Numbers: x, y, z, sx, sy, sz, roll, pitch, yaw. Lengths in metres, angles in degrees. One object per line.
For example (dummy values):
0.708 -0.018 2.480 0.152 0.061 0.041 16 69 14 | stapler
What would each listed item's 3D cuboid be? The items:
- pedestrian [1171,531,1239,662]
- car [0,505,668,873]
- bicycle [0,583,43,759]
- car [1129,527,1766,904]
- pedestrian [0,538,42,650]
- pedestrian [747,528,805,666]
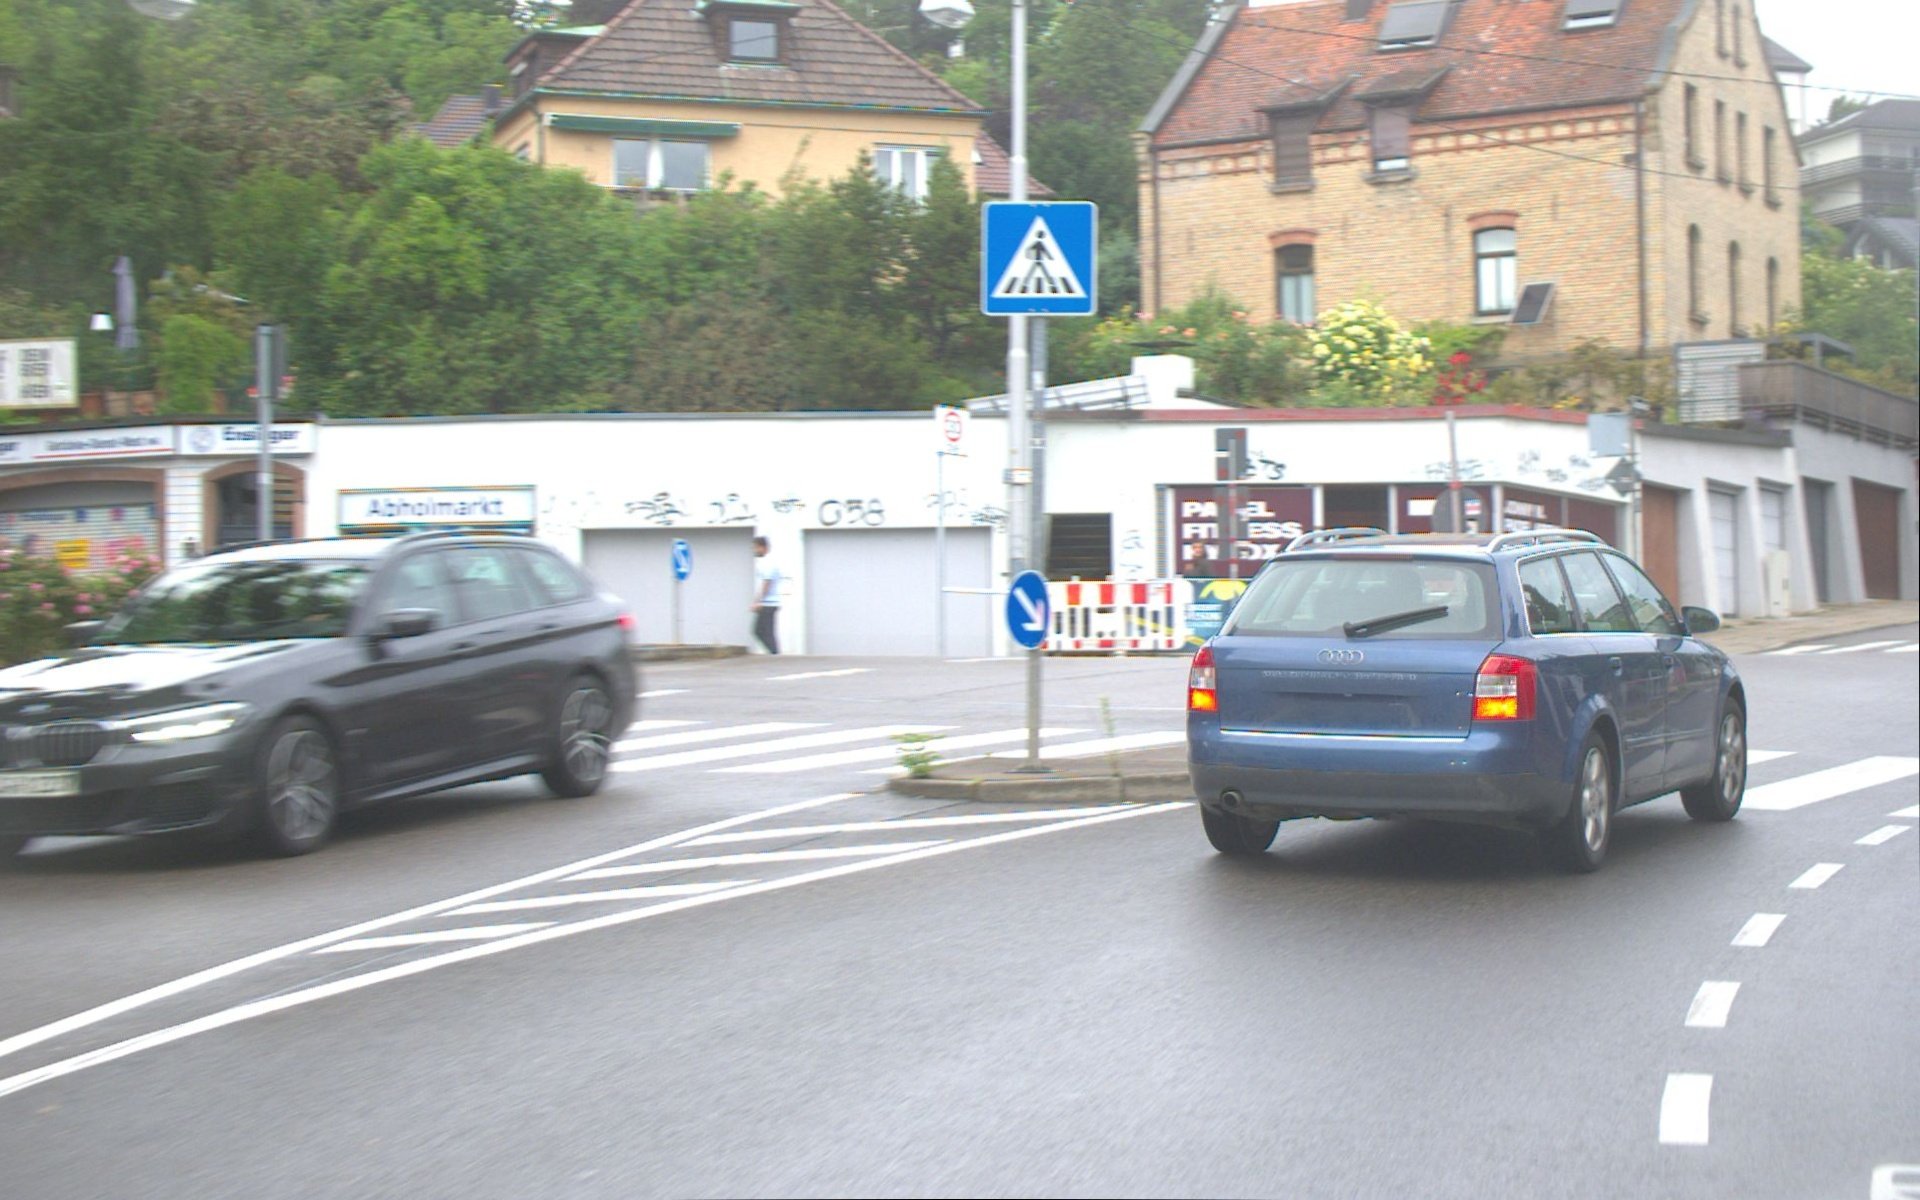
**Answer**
3.201 -0.048 44.923 0.582 1.683 0.626 -2 -1 -26 | pedestrian
-3.381 0.346 17.455 1.872 1.486 4.633 -1 3 22 | car
-6.459 0.483 21.070 0.421 1.081 1.961 1 3 26 | bicycle
2.381 0.413 15.852 1.814 1.434 4.076 1 2 25 | car
-13.354 -0.091 47.420 0.977 1.500 0.889 2 2 26 | pedestrian
-2.431 -0.047 45.476 0.704 1.799 0.809 0 1 2 | pedestrian
